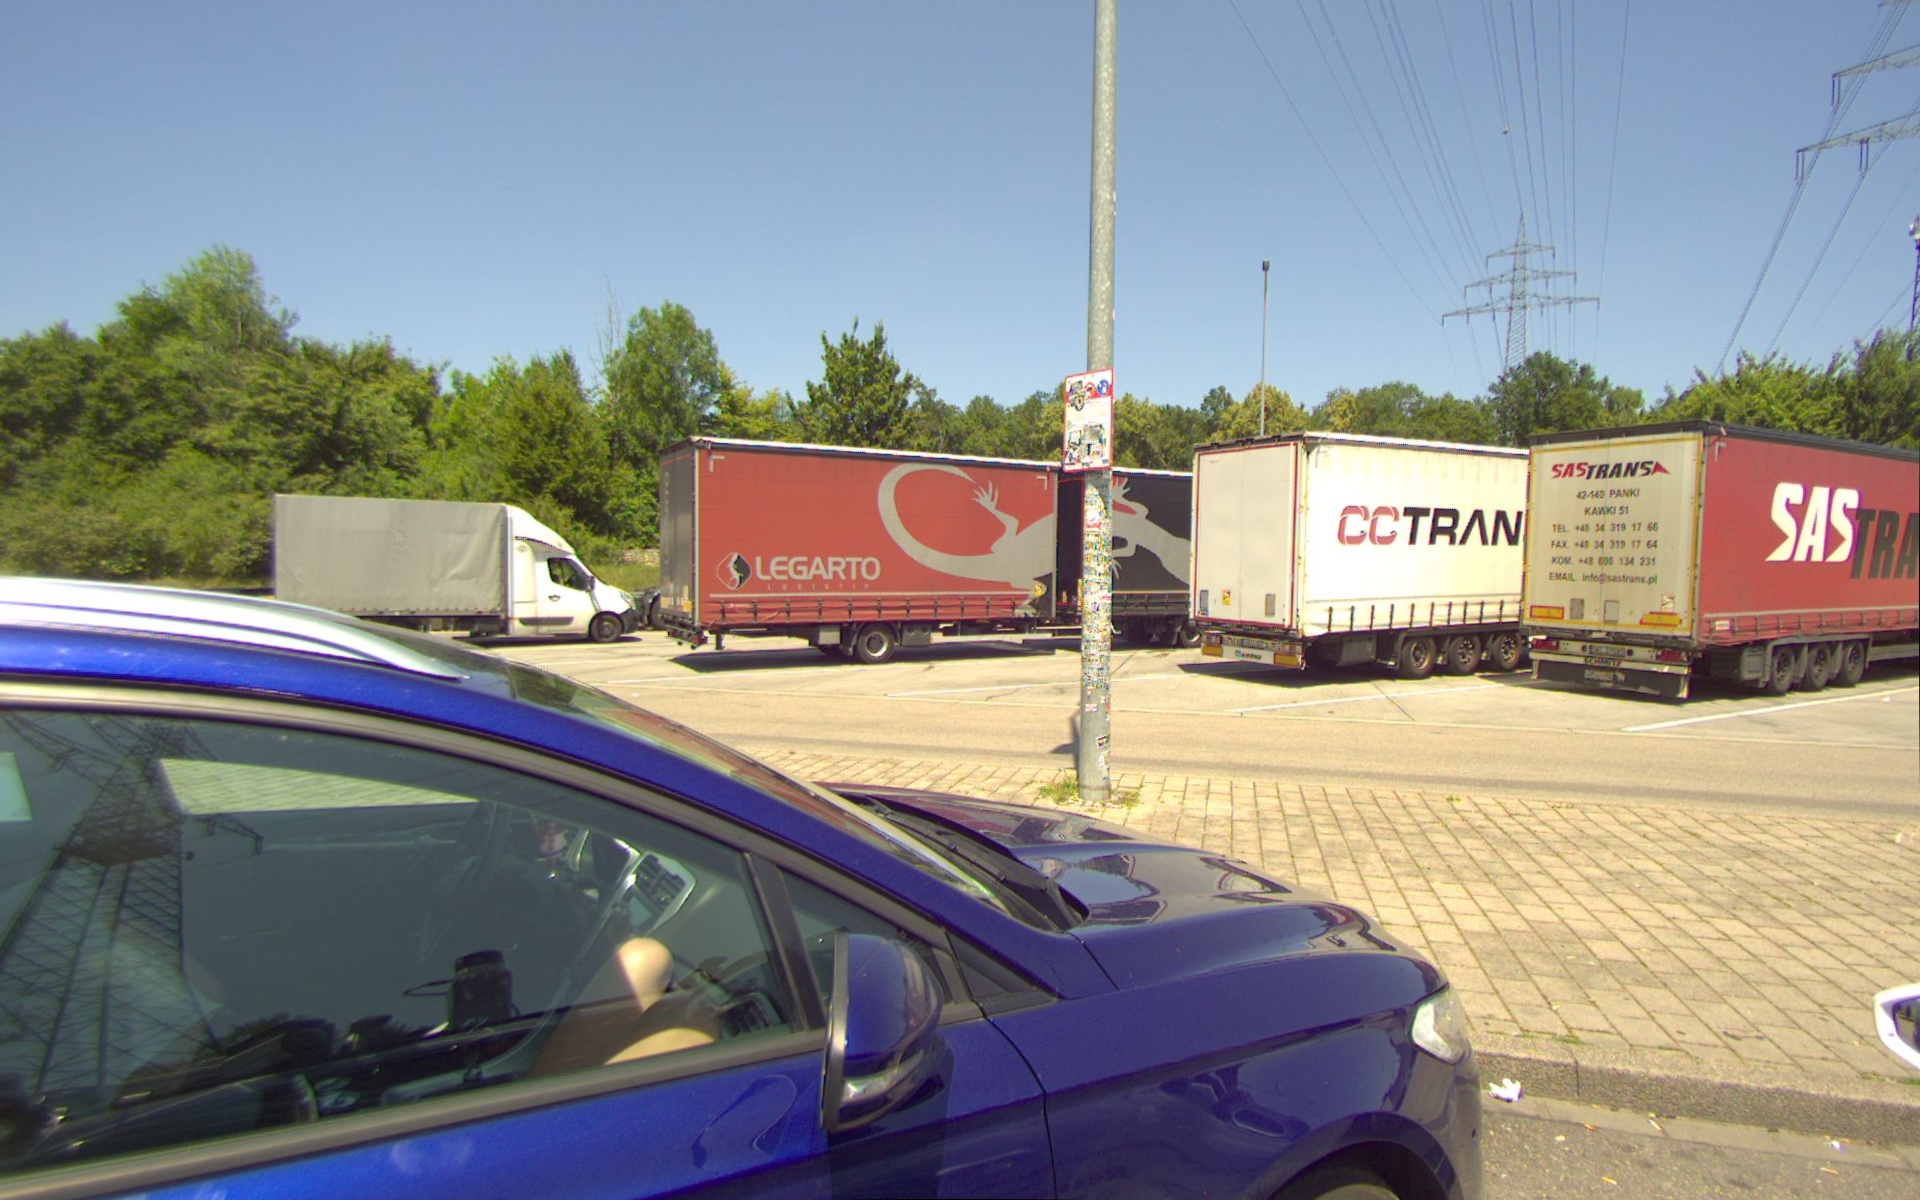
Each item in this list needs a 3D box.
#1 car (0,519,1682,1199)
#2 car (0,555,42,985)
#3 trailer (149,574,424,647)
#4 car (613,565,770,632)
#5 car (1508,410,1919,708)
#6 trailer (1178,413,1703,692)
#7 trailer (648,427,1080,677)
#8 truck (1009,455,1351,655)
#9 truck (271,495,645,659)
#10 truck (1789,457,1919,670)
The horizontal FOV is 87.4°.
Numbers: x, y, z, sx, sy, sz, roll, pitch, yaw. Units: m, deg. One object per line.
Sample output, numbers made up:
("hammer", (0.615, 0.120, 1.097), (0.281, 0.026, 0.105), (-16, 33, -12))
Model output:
("car", (-0.990, 0.673, 1.460), (4.380, 1.464, 1.771), (0, 0, -32))
("car", (-4.616, 0.559, 2.111), (3.700, 1.432, 1.595), (0, 0, -32))
("trailer", (-15.953, 0.245, 24.176), (5.332, 1.617, 1.585), (0, 0, -30))
("car", (-7.608, -0.043, 28.511), (3.953, 1.773, 1.902), (0, 0, -30))
("car", (15.213, -0.689, 18.448), (12.777, 4.169, 2.683), (-1, 3, -30))
("trailer", (10.108, -0.878, 20.062), (12.786, 4.325, 2.800), (-1, 2, -31))
("trailer", (-1.747, -0.925, 20.500), (8.389, 4.248, 2.800), (-1, 2, -30))
("truck", (5.599, -1.074, 24.823), (8.683, 4.248, 2.800), (-1, 2, -30))
("truck", (-11.118, -0.582, 22.869), (7.219, 3.277, 2.308), (-2, 3, -29))
("truck", (21.138, -0.770, 21.859), (6.163, 4.169, 2.683), (-1, 3, -30))
